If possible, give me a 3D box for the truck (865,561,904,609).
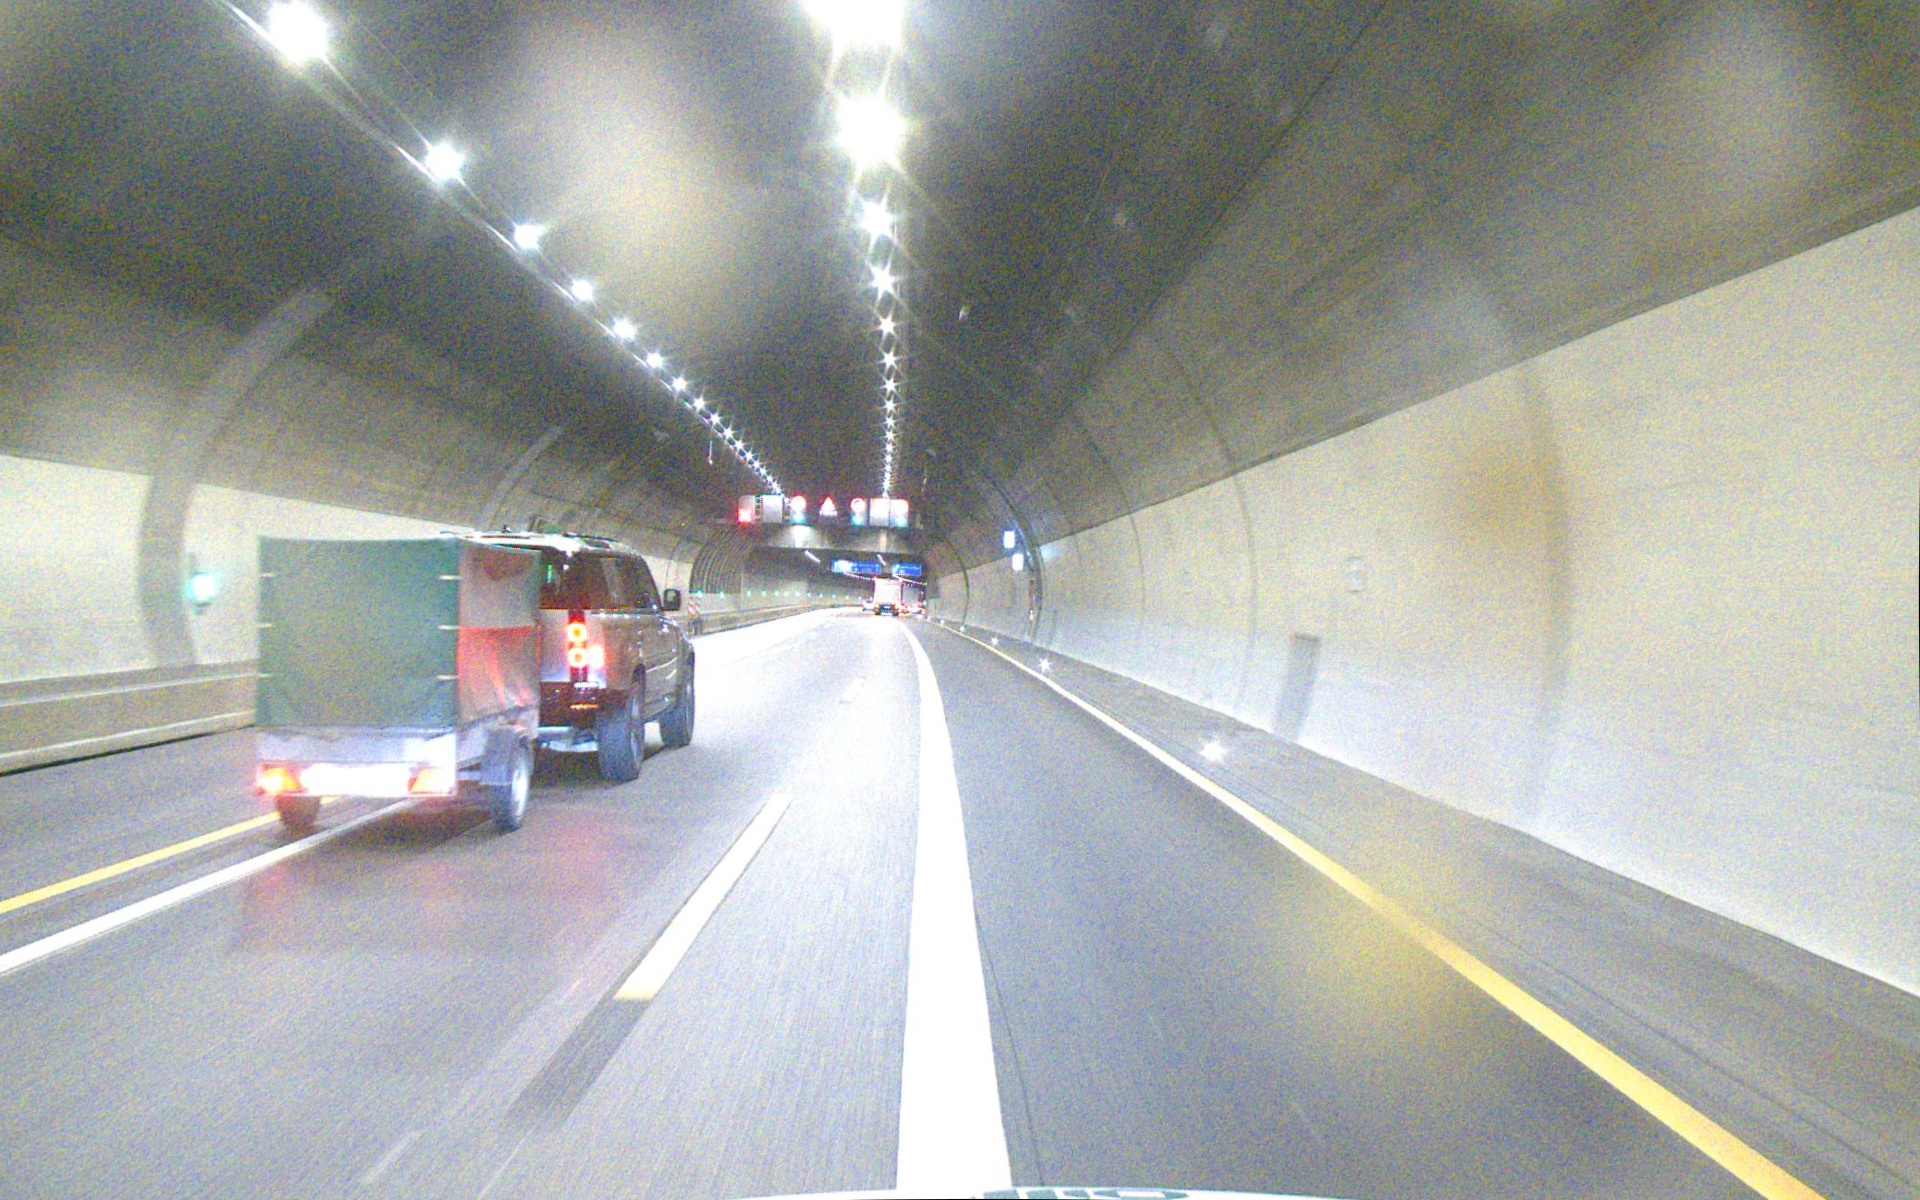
[{"bbox_3d":[-7.382,-1.463,161.145,3.405,4.391,10.945,3,0,-3],"label":"truck"}]

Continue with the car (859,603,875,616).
[{"bbox_3d":[-12.298,1.264,218.360,1.954,1.609,3.997,2,0,-4],"label":"car"}]

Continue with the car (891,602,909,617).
[{"bbox_3d":[-7.976,1.290,221.350,1.952,1.928,5.533,2,0,2],"label":"car"}]

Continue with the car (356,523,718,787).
[{"bbox_3d":[-3.492,0.394,14.837,1.953,1.928,5.452,0,0,-1],"label":"car"}]

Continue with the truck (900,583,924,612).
[{"bbox_3d":[-7.539,-0.456,259.739,3.405,4.391,10.945,1,0,-3],"label":"truck"}]
